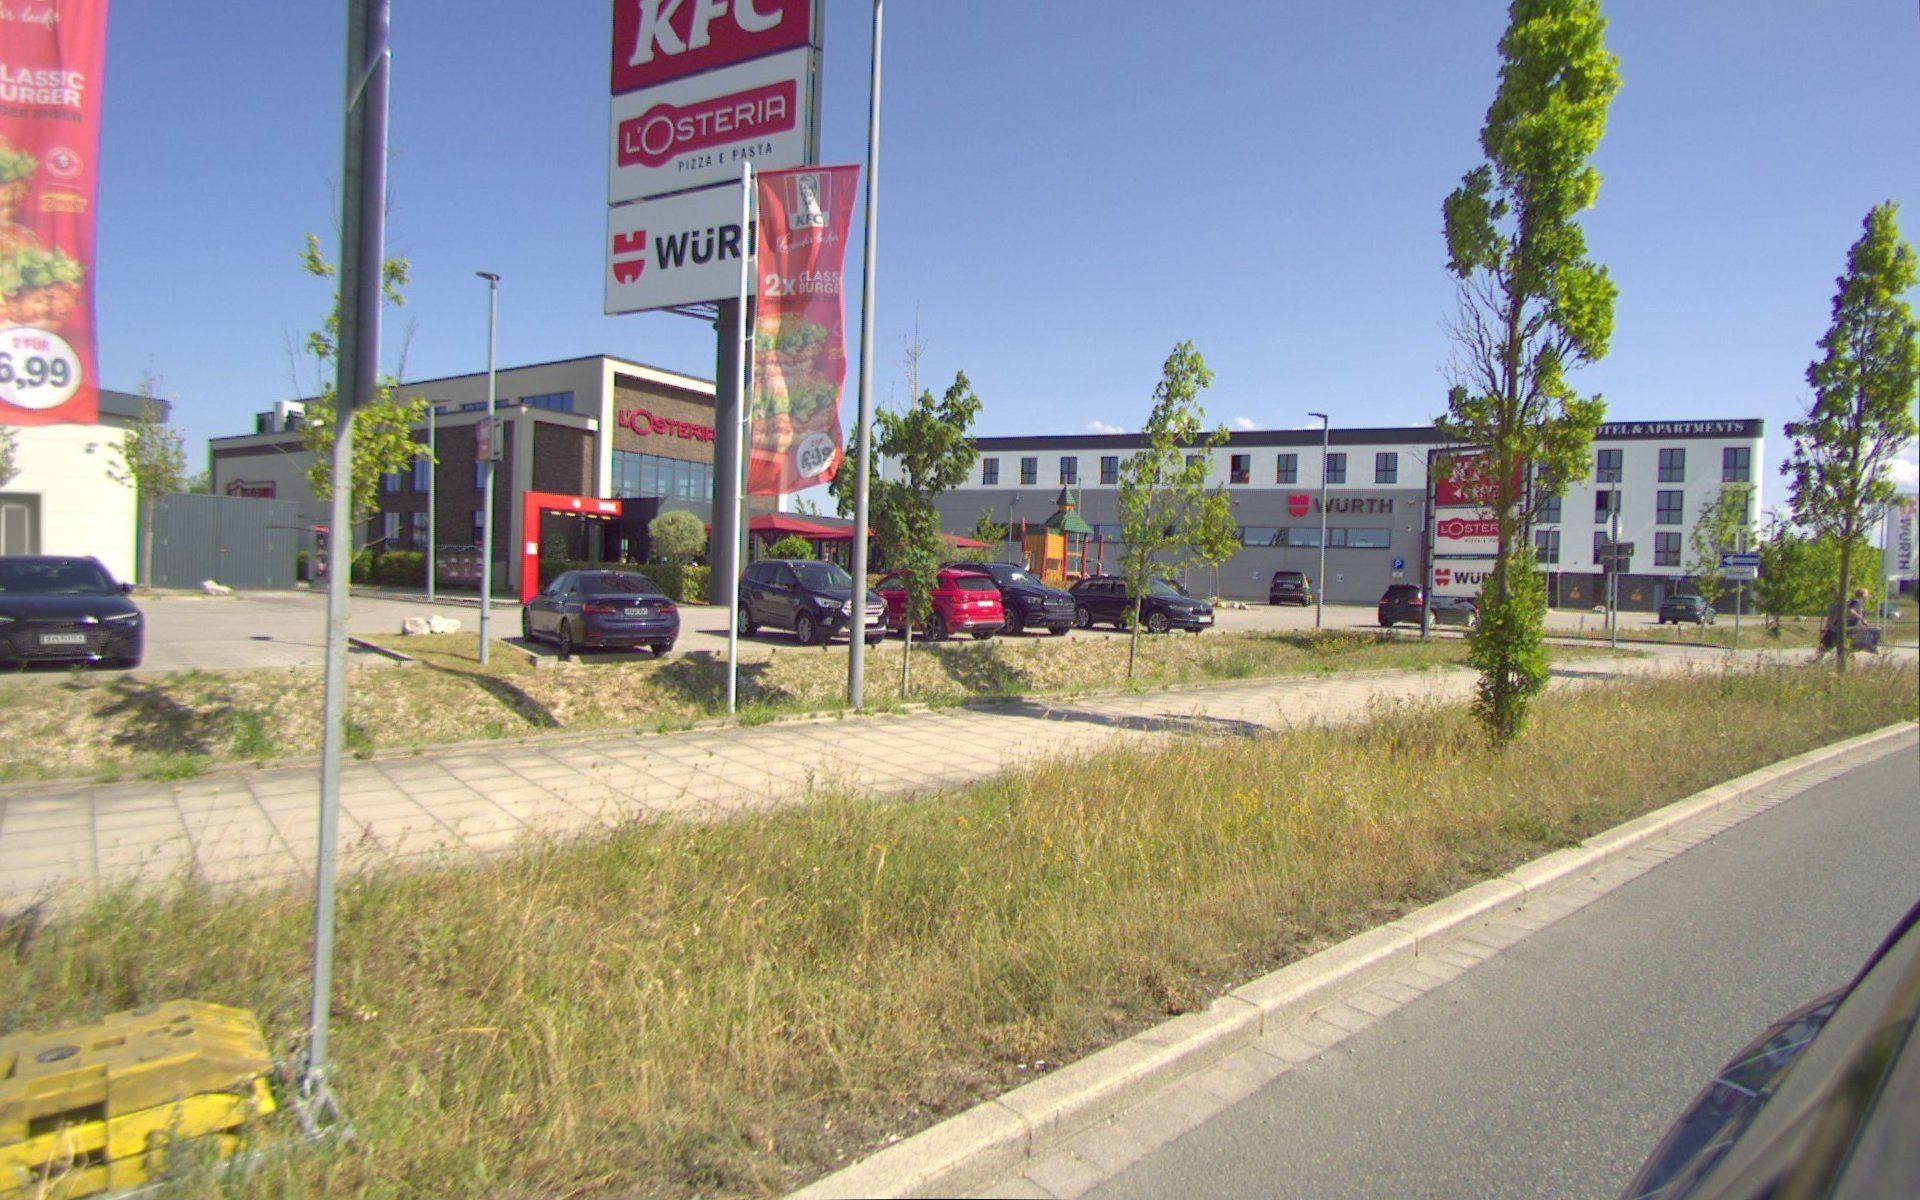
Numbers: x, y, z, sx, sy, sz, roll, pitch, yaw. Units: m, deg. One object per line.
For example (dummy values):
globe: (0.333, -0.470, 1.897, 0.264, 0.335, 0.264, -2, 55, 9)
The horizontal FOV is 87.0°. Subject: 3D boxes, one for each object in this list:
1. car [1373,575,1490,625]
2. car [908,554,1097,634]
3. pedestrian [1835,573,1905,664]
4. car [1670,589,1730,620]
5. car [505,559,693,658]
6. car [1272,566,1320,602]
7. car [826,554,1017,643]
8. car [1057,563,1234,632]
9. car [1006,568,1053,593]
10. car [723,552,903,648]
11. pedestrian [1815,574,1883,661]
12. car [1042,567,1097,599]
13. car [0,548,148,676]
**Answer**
car: (15.981, -0.002, 34.251, 4.089, 1.559, 1.786, 0, 2, -35)
car: (0.975, -0.207, 25.911, 1.905, 1.756, 4.993, 1, 2, -40)
pedestrian: (17.073, 0.328, 18.991, 0.789, 1.650, 0.803, 0, 1, -35)
car: (35.534, 0.214, 48.576, 3.931, 1.425, 1.516, 1, 2, -42)
car: (-6.597, 0.080, 18.199, 1.759, 1.467, 4.417, 1, 2, -39)
car: (18.757, -0.878, 56.344, 2.027, 1.838, 4.883, 2, 1, 24)
car: (-0.966, -0.093, 23.252, 4.407, 1.756, 1.763, 4, 2, 43)
car: (4.914, -0.109, 27.291, 1.960, 1.586, 4.416, 1, 2, -40)
car: (4.395, -1.247, 63.712, 1.683, 1.480, 4.078, 2, 2, 23)
car: (-3.221, -0.073, 21.446, 1.758, 1.756, 4.418, 1, 2, -38)
pedestrian: (17.425, 0.327, 19.831, 0.850, 1.649, 0.811, 0, 1, -35)
car: (5.599, -0.856, 51.179, 1.682, 1.490, 4.202, 2, 2, 22)
car: (-12.639, 0.063, 13.832, 4.153, 1.467, 1.764, 4, 2, 42)
